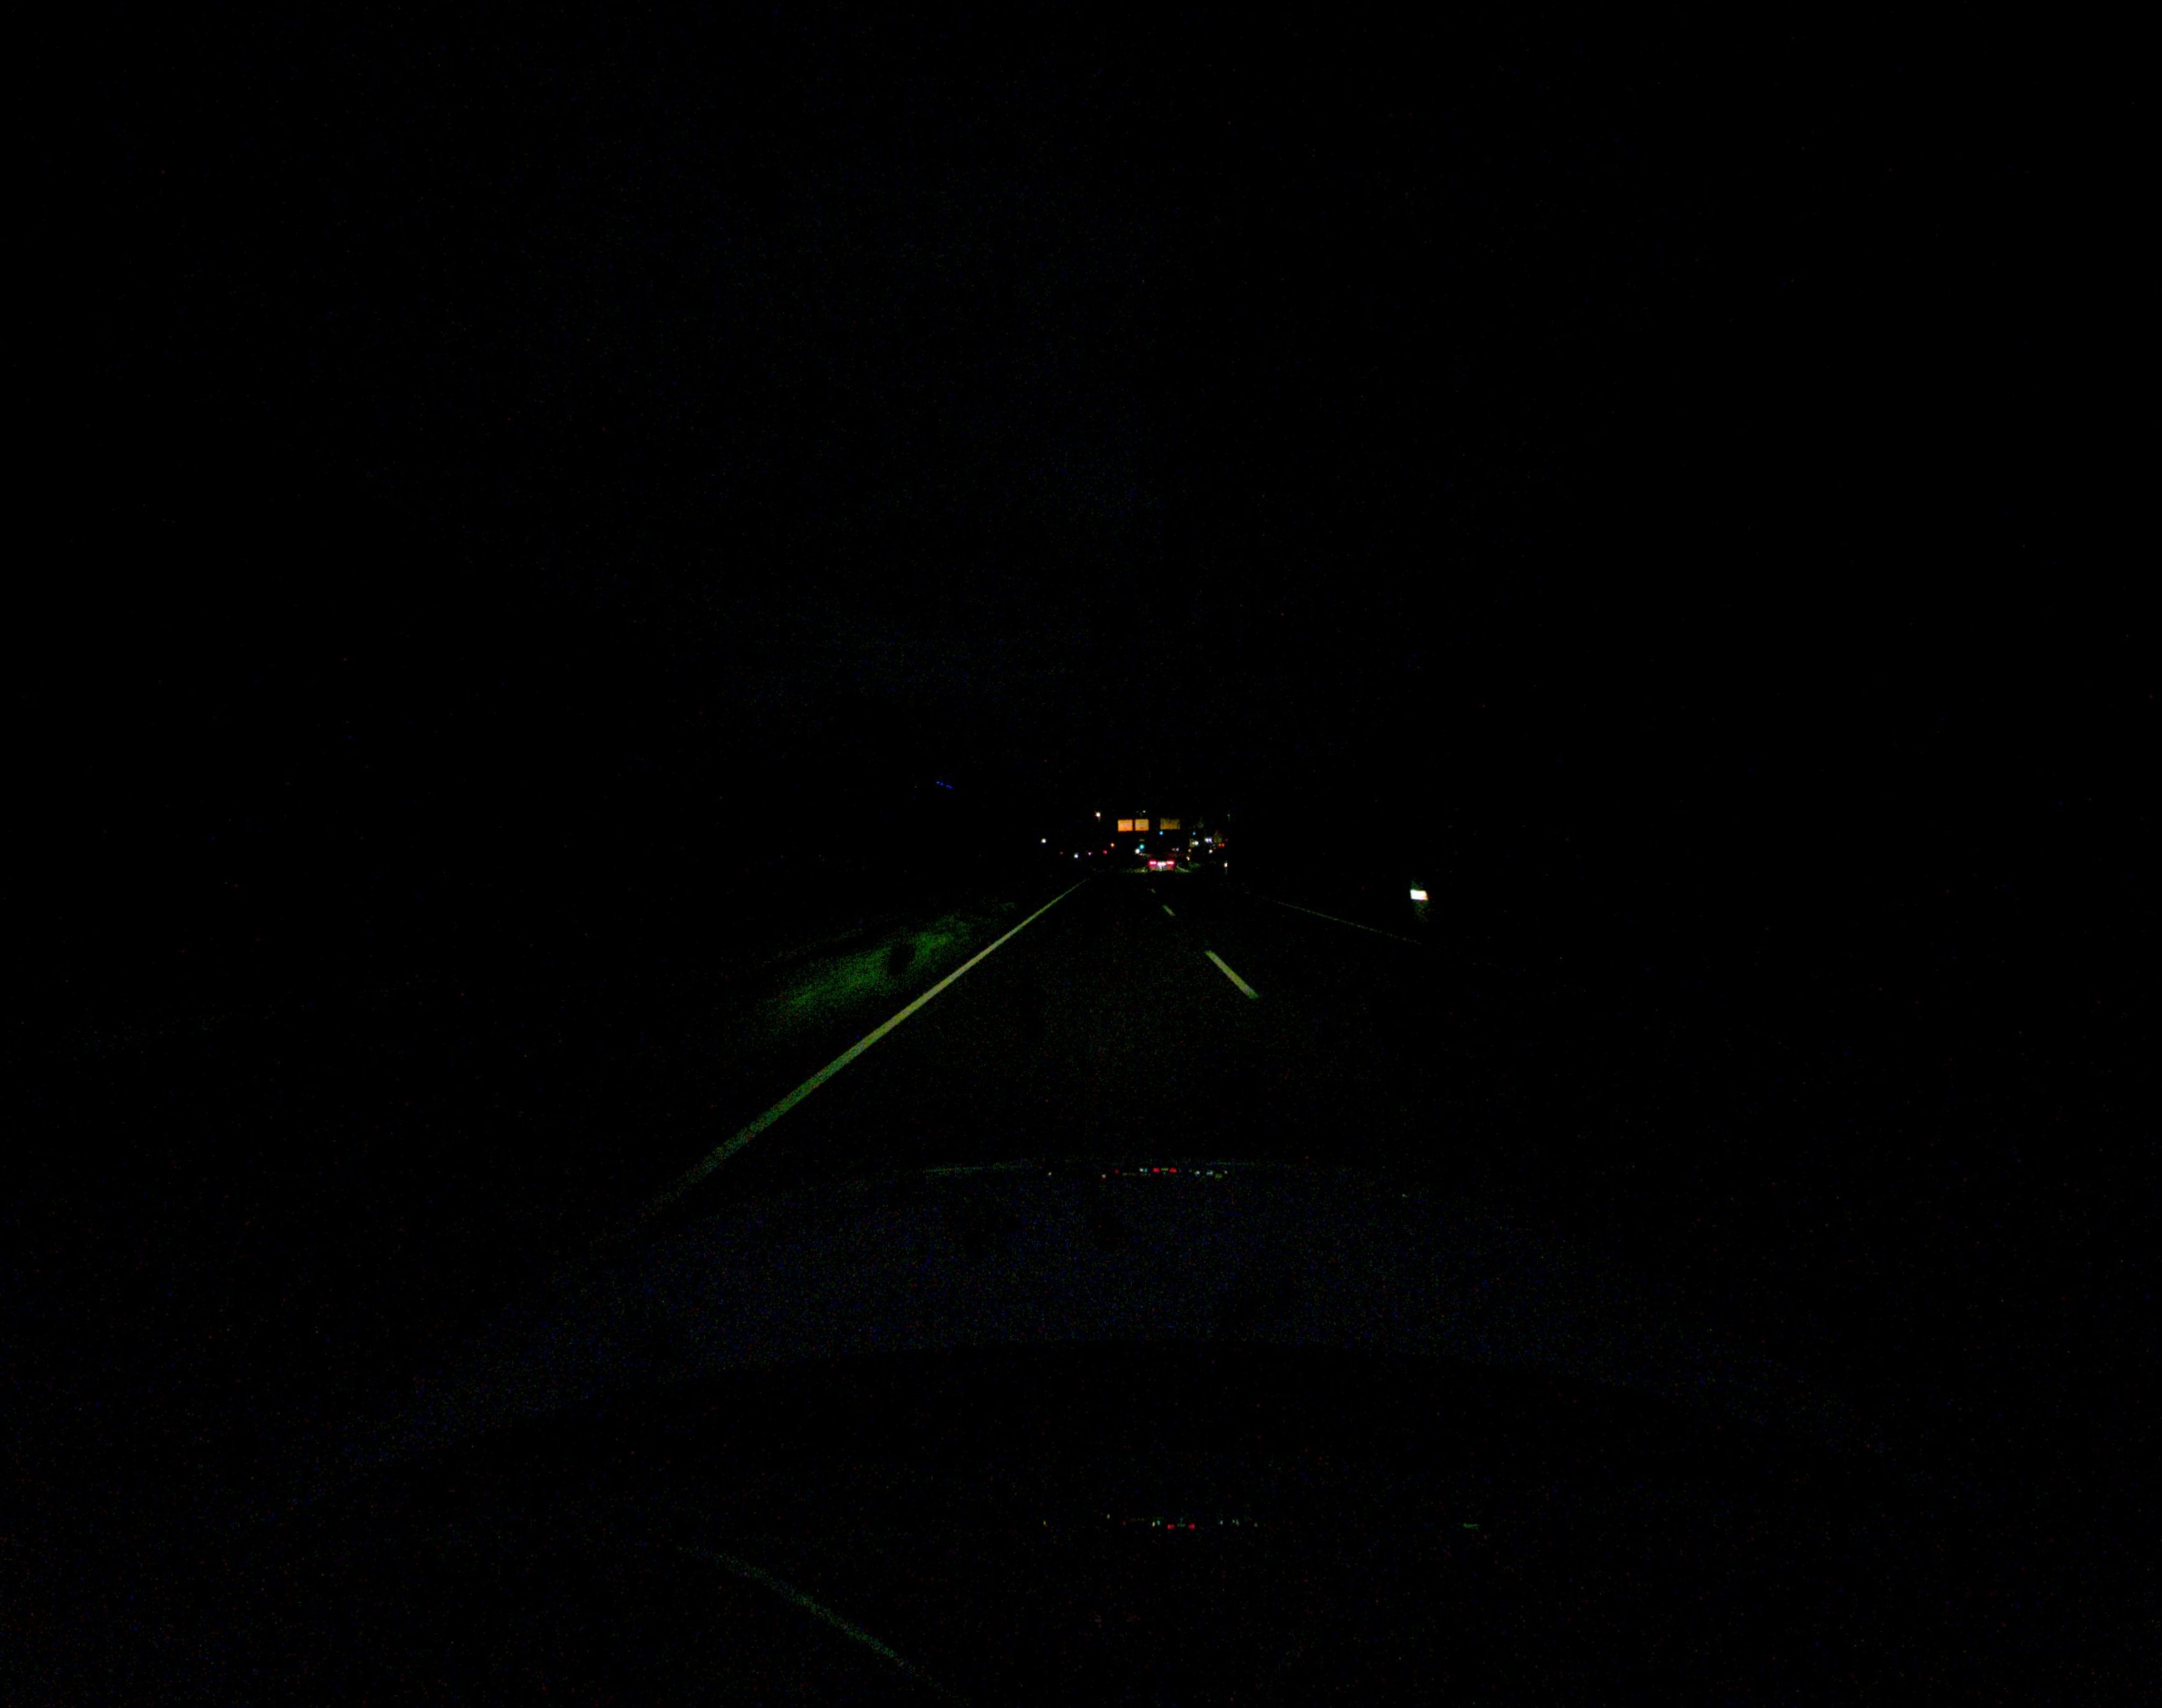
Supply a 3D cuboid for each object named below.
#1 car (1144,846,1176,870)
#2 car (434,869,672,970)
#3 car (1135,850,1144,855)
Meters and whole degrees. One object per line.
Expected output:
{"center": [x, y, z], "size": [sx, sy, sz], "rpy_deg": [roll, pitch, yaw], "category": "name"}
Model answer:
{"center": [5.383, 0.271, 55.806], "size": [1.999, 1.611, 3.848], "rpy_deg": [-1, 0, 3], "category": "car"}
{"center": [-9.720, 1.117, 15.424], "size": [1.828, 1.469, 3.846], "rpy_deg": [-4, 0, 1], "category": "car"}
{"center": [17.552, -0.587, 246.138], "size": [1.980, 1.425, 4.549], "rpy_deg": [-1, 1, 13], "category": "car"}
